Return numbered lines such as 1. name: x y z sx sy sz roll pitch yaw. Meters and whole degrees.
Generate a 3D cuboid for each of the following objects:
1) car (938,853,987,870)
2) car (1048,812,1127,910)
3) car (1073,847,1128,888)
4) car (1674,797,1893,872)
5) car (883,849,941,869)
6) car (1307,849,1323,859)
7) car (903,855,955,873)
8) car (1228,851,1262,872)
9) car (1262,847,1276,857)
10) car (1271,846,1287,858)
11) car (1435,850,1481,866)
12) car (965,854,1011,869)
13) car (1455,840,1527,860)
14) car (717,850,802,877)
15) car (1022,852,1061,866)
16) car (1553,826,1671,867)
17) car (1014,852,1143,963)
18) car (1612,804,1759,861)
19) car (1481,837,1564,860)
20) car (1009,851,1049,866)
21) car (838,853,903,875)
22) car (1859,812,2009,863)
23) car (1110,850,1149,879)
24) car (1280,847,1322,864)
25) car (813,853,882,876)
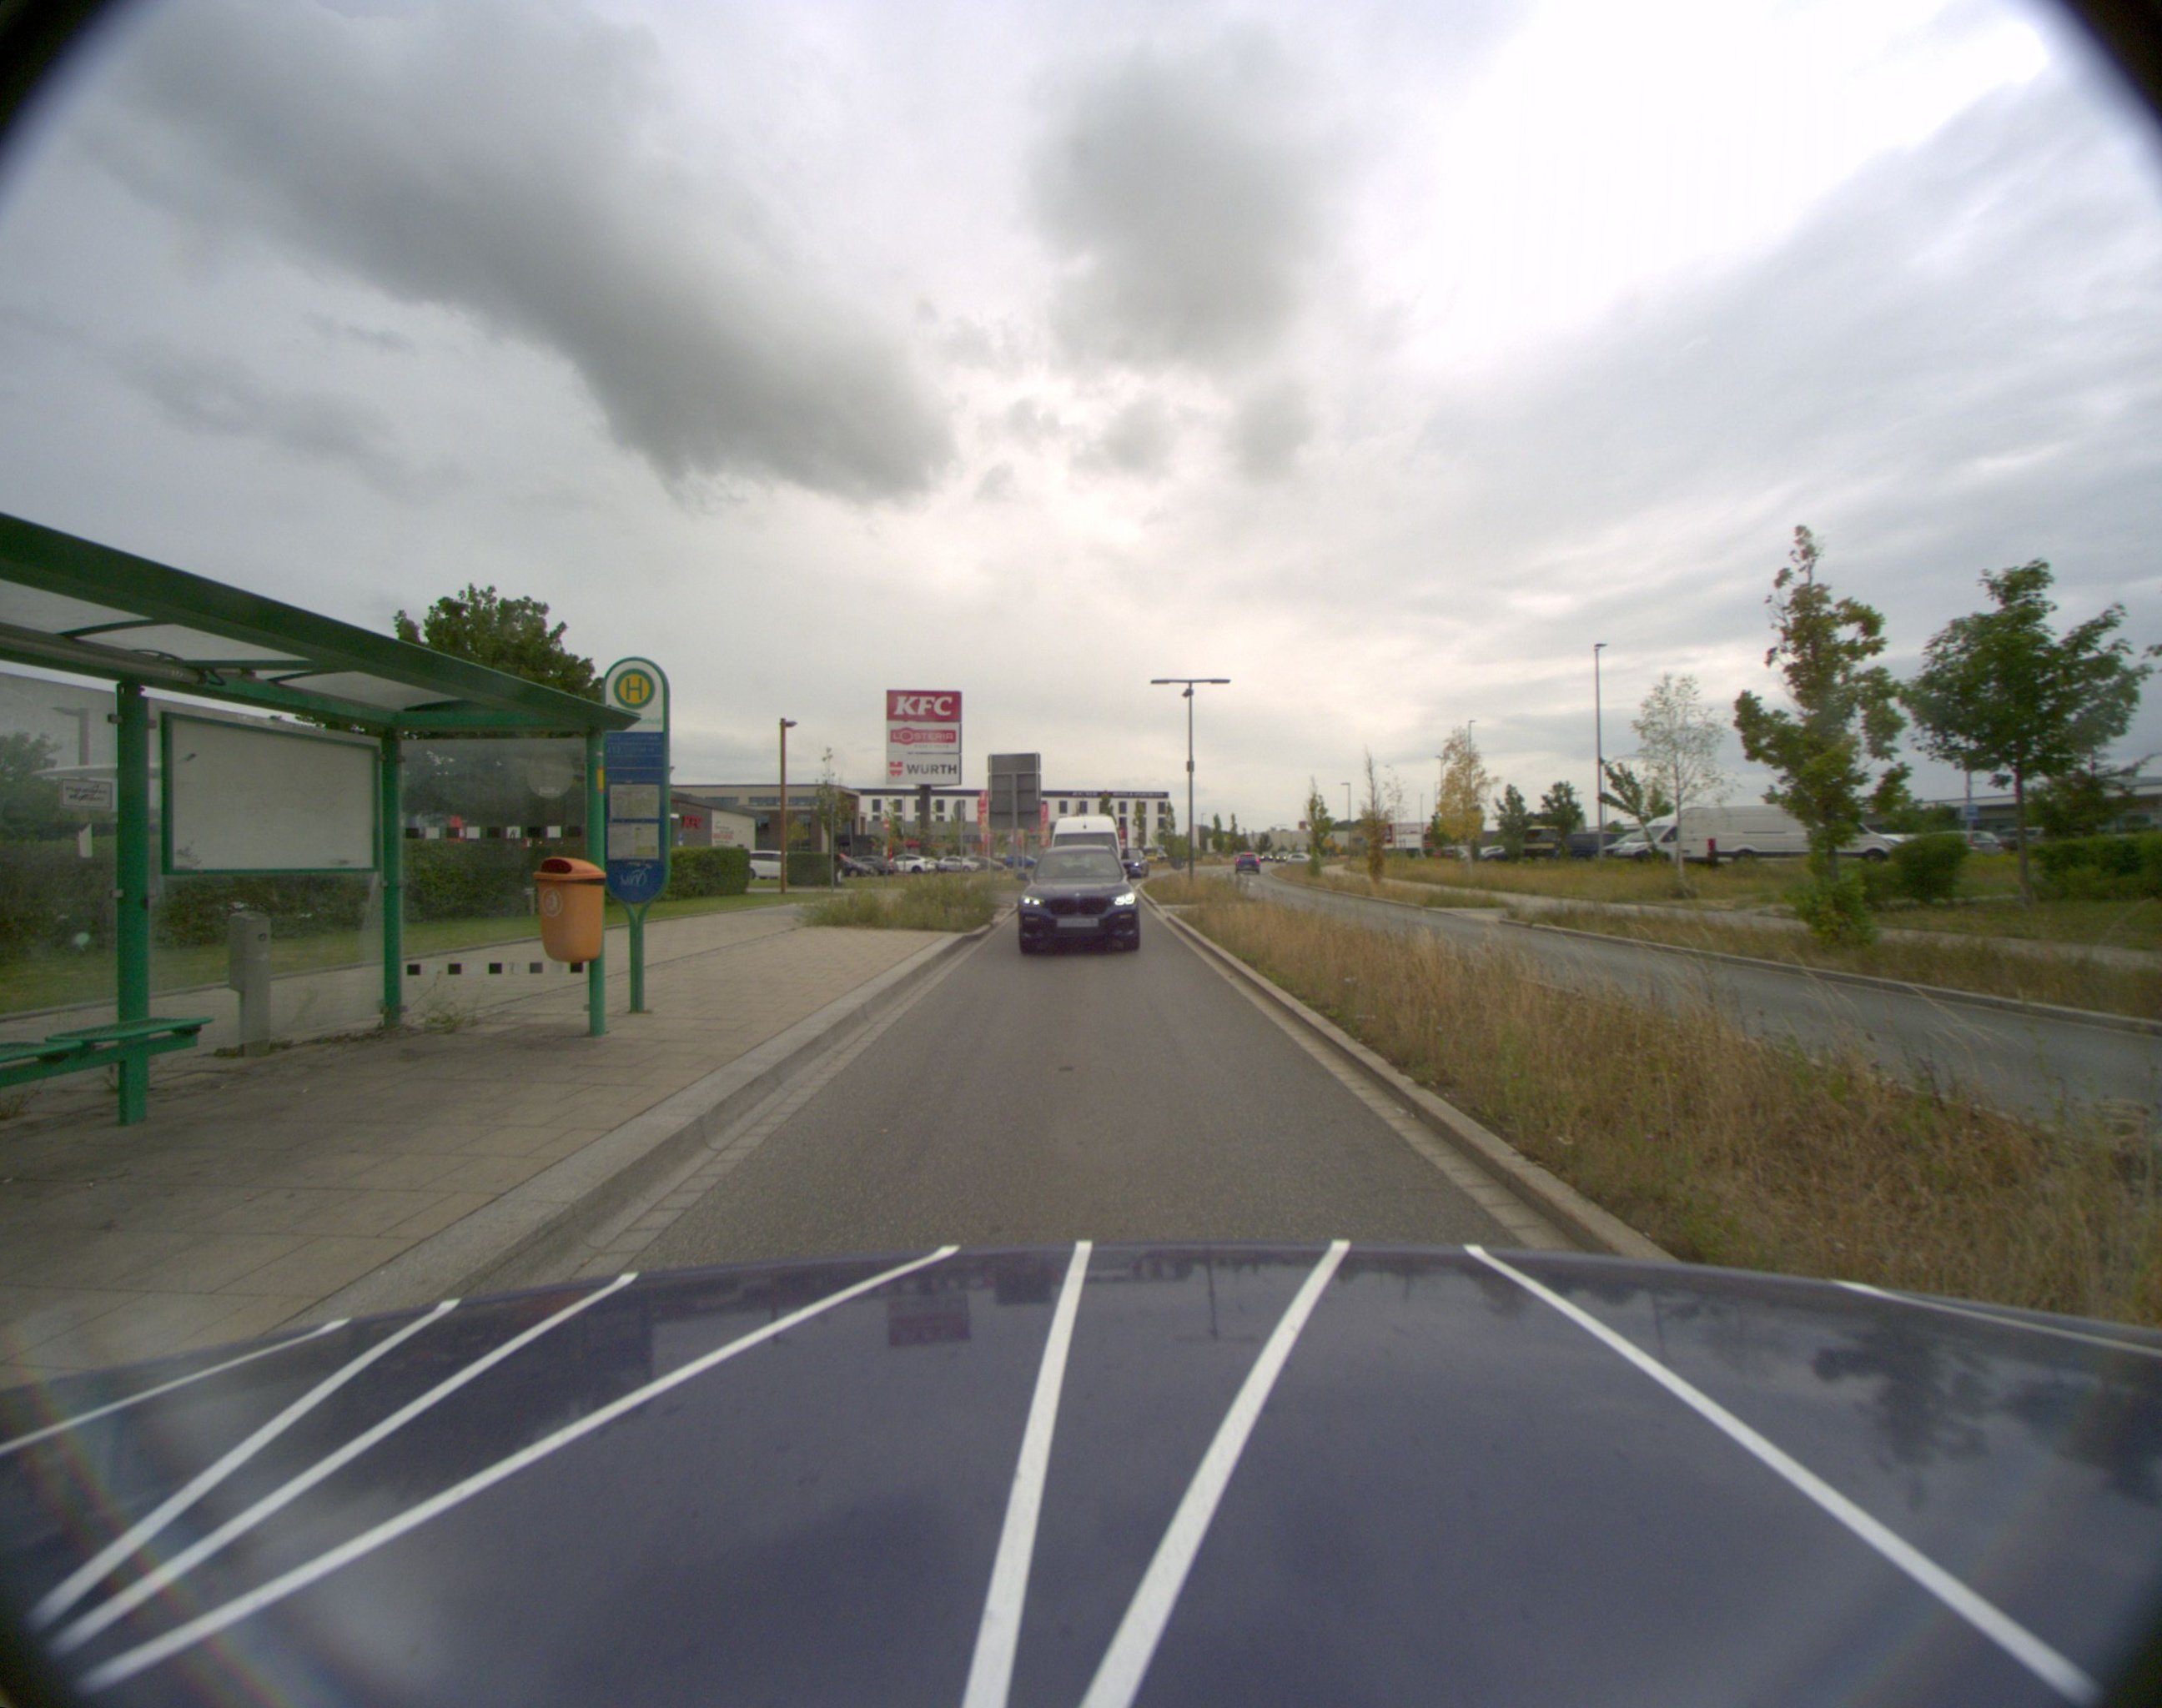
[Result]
1. car: -10.889 0.701 69.909 3.993 1.477 1.849 0 0 13
2. car: 0.185 0.182 22.677 2.026 2.513 6.105 0 0 0
3. car: 0.962 0.595 34.126 1.997 1.660 4.003 -2 -1 8
4. car: 27.481 -0.737 29.910 6.413 2.609 2.065 -2 1 5
5. car: -13.368 0.416 60.209 3.994 1.513 1.848 0 0 9
6. car: 33.647 0.018 109.137 1.730 1.484 4.007 0 0 25
7. car: -13.021 0.860 65.339 3.994 1.477 1.848 0 0 9
8. car: 12.161 0.544 56.631 1.733 1.504 4.000 0 0 1
9. car: 31.037 -0.331 125.403 1.997 1.565 4.003 -2 1 12
10. car: 28.448 -0.257 108.919 1.996 1.565 4.004 -2 1 17
11. car: 37.746 0.430 76.103 3.989 1.455 1.739 -2 1 29
12. car: -9.091 0.756 74.404 3.993 1.477 1.849 0 0 13
13. car: 34.963 -0.337 64.931 5.049 1.646 2.066 0 0 11
14. car: -18.276 0.535 43.316 3.996 1.519 1.847 0 0 1
15. car: -4.448 0.573 85.865 3.992 1.477 1.849 -2 1 18
16. car: 29.582 -0.393 42.486 5.050 2.210 2.066 0 0 8
17. car: -0.029 0.778 13.029 1.867 1.598 4.000 0 0 0
18. car: 27.621 -0.972 34.836 5.053 2.359 2.064 -2 1 1
19. car: 33.271 -0.390 57.434 5.049 1.646 2.066 0 0 11
20. car: -5.689 0.466 83.594 3.992 1.477 1.849 -2 1 18
21. car: -14.746 0.709 53.377 3.994 1.477 1.848 0 0 9
22. car: 43.558 -0.810 39.016 2.063 2.359 5.057 -2 1 1
23. car: 3.098 0.675 47.626 1.860 1.660 4.004 -2 -1 11
24. car: 24.325 0.148 84.138 3.989 1.660 2.004 -3 -1 44
25. car: -15.568 0.696 50.689 3.994 1.477 1.848 0 0 9
